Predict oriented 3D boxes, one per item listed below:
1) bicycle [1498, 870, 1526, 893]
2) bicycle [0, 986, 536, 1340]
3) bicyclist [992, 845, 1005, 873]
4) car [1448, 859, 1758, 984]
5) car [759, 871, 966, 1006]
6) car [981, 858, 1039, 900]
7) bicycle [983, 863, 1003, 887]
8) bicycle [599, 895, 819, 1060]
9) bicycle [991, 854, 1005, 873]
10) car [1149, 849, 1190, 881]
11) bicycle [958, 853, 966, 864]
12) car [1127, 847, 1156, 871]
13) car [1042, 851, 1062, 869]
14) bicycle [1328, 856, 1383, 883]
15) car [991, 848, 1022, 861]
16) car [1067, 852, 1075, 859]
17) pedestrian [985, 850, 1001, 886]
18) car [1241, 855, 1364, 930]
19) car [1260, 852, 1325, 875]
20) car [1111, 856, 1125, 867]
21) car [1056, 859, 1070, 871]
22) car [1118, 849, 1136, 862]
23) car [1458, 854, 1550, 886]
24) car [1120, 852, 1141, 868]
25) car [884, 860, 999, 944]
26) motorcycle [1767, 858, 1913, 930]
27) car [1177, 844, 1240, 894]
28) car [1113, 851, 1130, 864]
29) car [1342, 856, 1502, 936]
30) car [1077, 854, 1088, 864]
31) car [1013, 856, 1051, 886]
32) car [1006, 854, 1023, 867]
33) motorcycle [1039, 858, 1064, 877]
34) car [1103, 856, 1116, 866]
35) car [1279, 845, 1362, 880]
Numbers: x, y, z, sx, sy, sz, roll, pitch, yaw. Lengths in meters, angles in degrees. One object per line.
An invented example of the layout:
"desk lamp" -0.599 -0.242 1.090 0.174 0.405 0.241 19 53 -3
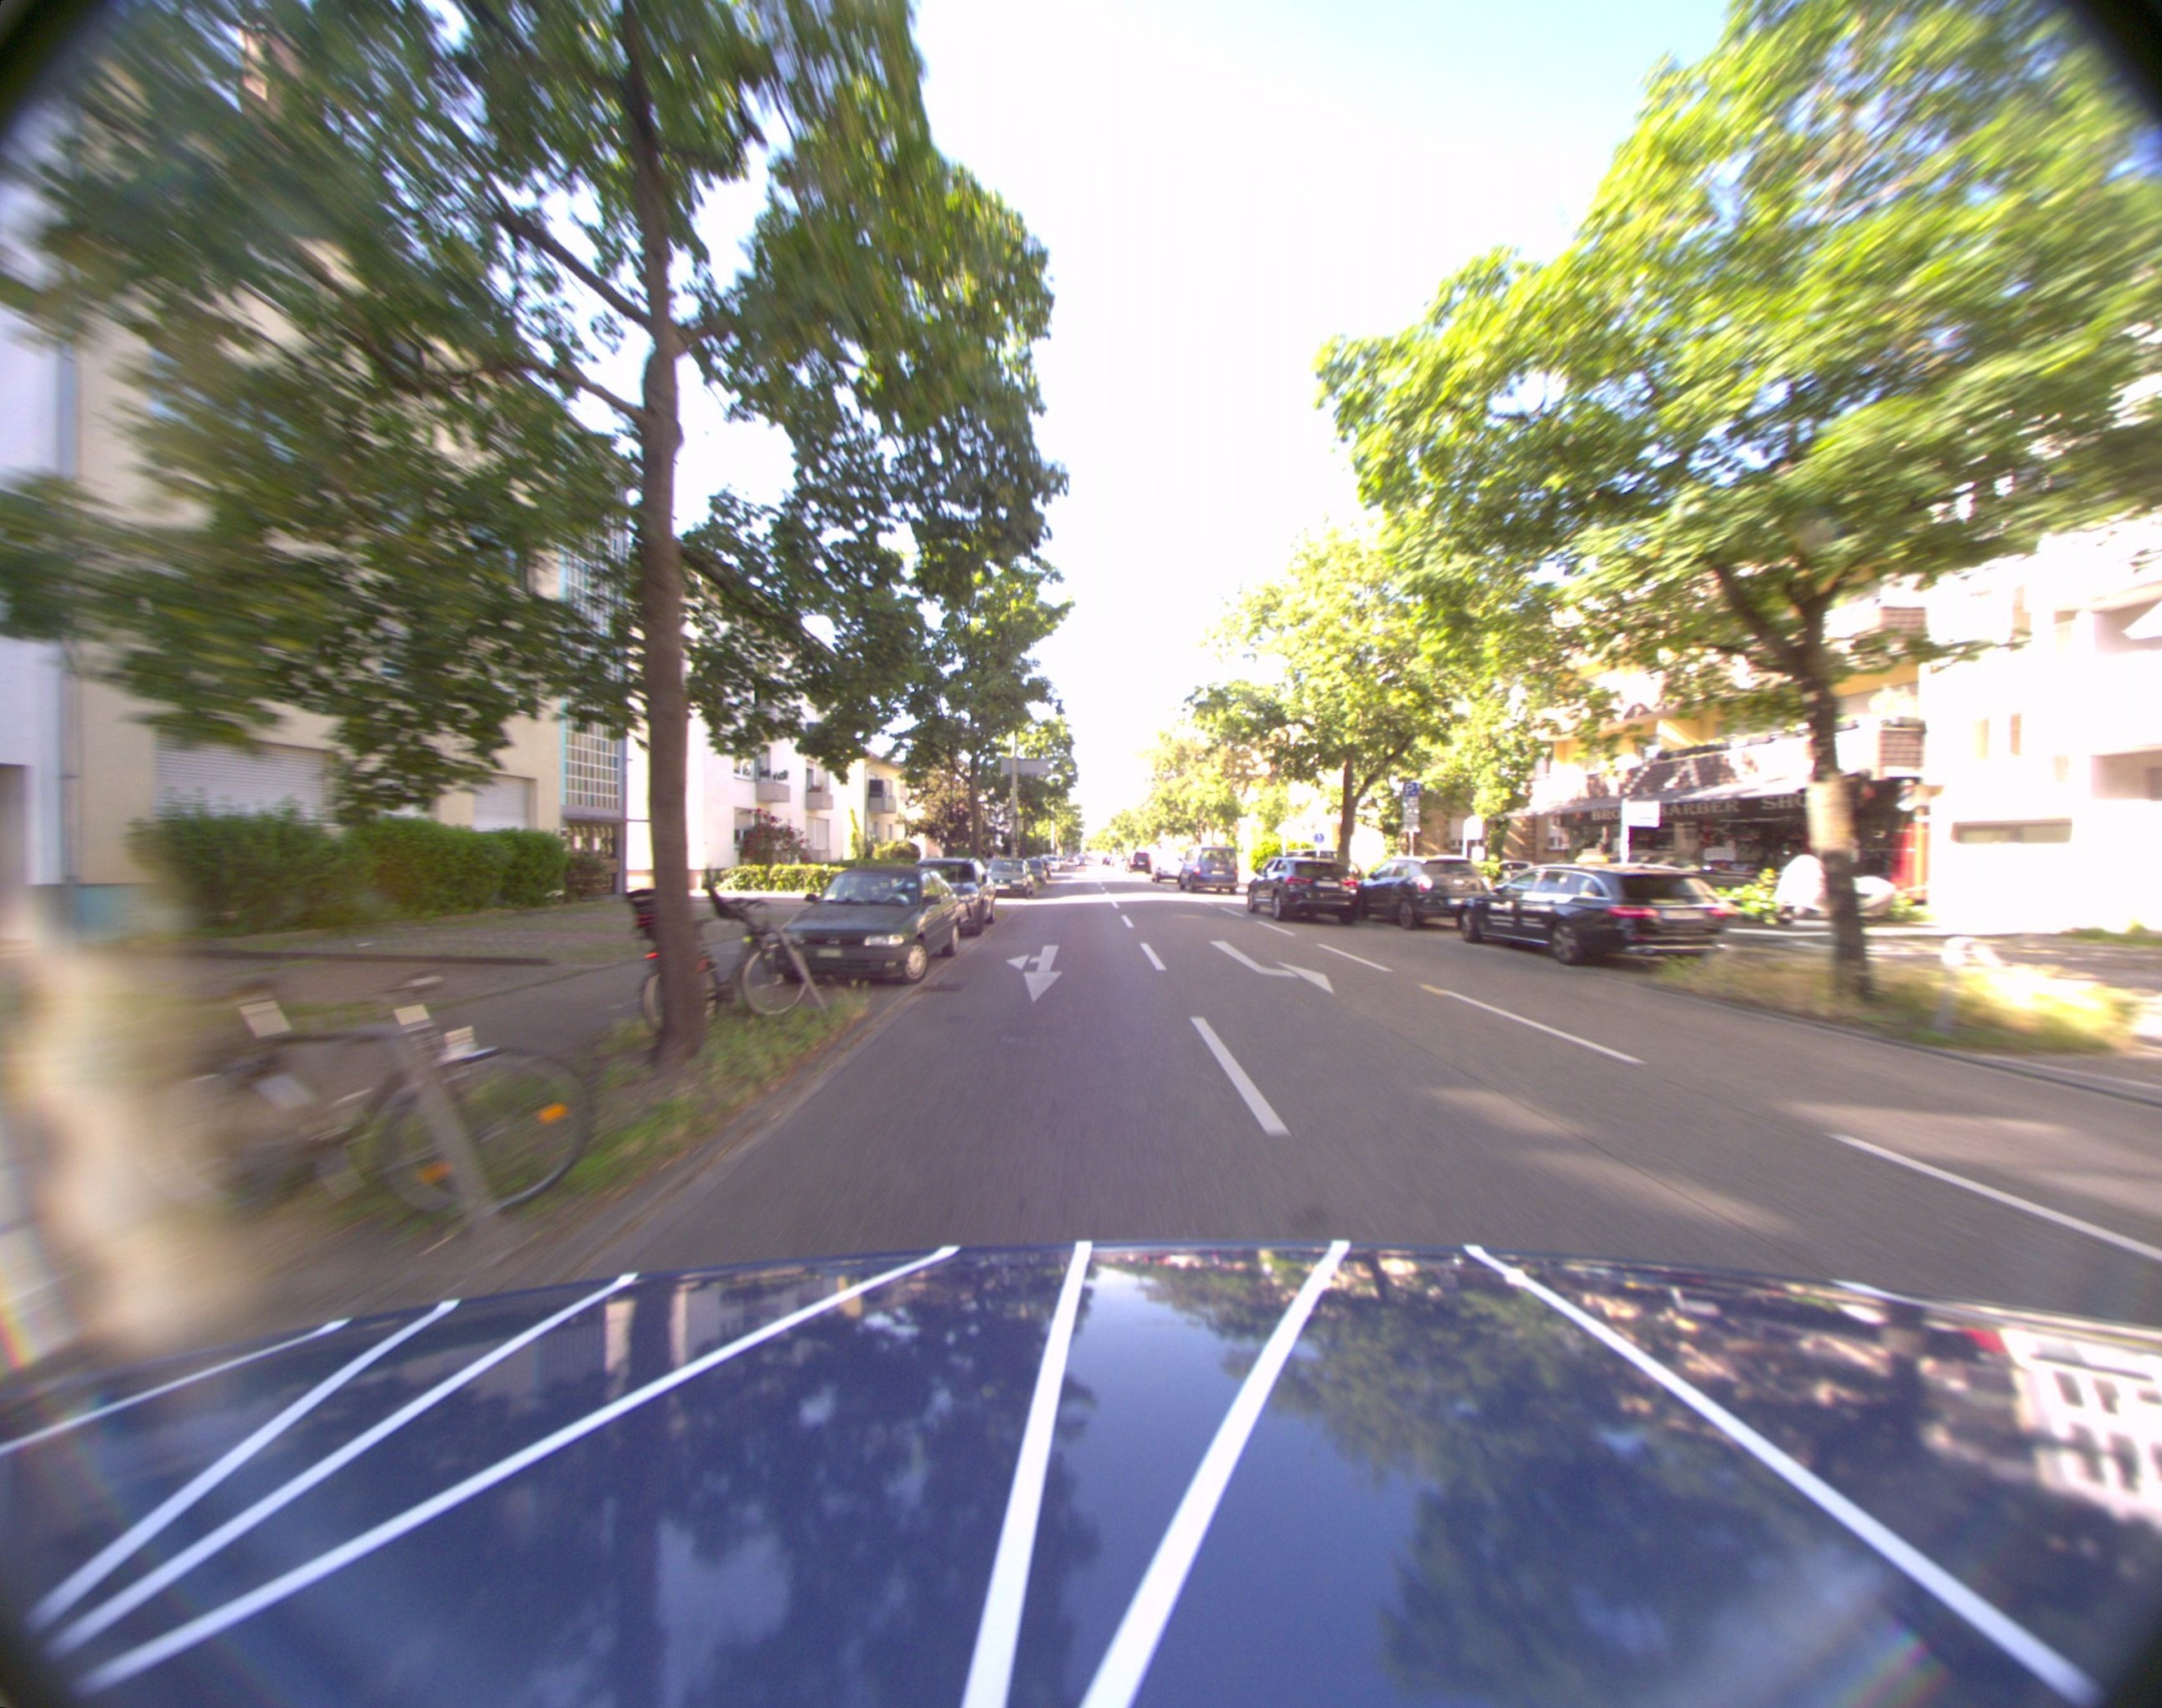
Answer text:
"bicycle" 18.932 1.210 33.416 0.404 0.974 1.760 1 -1 6
"bicycle" -3.145 1.131 2.978 1.742 1.016 0.524 2 3 8
"bicyclist" -5.488 0.327 50.351 0.726 1.783 1.015 1 1 0
"car" 7.848 0.887 12.114 1.726 1.527 4.680 -1 0 0
"car" -2.709 0.975 10.347 1.616 1.375 3.976 1 0 1
"car" -2.639 0.904 28.996 1.696 1.419 4.147 1 0 1
"bicycle" -4.201 0.993 36.350 0.684 1.063 2.127 1 0 0
"bicycle" -3.219 1.011 6.679 1.671 1.230 0.470 0 1 -38
"bicycle" -5.487 0.619 50.488 0.700 1.239 1.822 1 0 0
"car" 5.189 0.624 44.977 1.820 1.733 4.492 2 0 -1
"bicycle" -10.845 0.408 69.138 0.456 0.987 1.742 2 2 0
"car" 5.299 0.433 67.083 2.021 1.940 5.177 2 0 -1
"car" -2.680 0.535 71.698 1.773 1.649 4.340 1 0 -1
"bicycle" 14.225 0.797 39.307 3.181 1.255 0.949 -1 3 -34
"car" -10.245 0.075 104.659 3.997 1.432 1.831 3 0 0
"car" -2.236 0.411 173.896 1.822 1.542 4.304 0 0 1
"pedestrian" -4.202 0.667 36.455 0.671 1.672 0.776 1 1 0
"car" 5.366 0.862 18.991 1.723 1.557 4.342 3 0 0
"car" 14.052 0.631 50.637 3.917 1.480 1.632 -1 0 1
"car" 5.026 1.006 102.716 1.585 1.443 3.744 0 0 -2
"car" -2.282 1.376 95.738 1.653 1.395 3.969 2 0 -1
"car" 5.685 0.163 95.002 1.841 1.604 4.400 2 0 -1
"car" 21.860 0.812 39.334 3.792 1.480 1.646 1 2 0
"car" 5.005 0.584 77.167 1.696 1.445 4.173 2 0 -1
"car" -2.775 0.894 15.956 1.718 1.480 4.233 1 0 -1
"motorcycle" 16.089 0.831 16.154 2.154 1.477 0.782 -1 0 9
"car" 5.270 0.582 32.018 1.807 1.900 4.711 2 0 0
"car" 4.602 0.360 87.069 1.737 1.404 4.191 2 0 0
"car" 7.748 0.864 17.743 1.727 1.587 4.135 -1 0 -2
"car" 0.196 0.740 113.463 1.654 1.348 4.304 0 0 1
"car" -2.489 0.855 39.655 1.590 1.388 4.454 2 0 1
"car" -7.248 0.676 83.306 1.535 1.348 3.717 3 0 0
"motorcycle" -2.051 0.903 51.795 0.701 1.264 2.426 2 0 -27
"car" 4.245 1.031 114.092 1.639 1.395 3.735 2 0 -2
"car" 13.761 0.470 43.628 4.334 1.868 1.876 -1 0 -23
